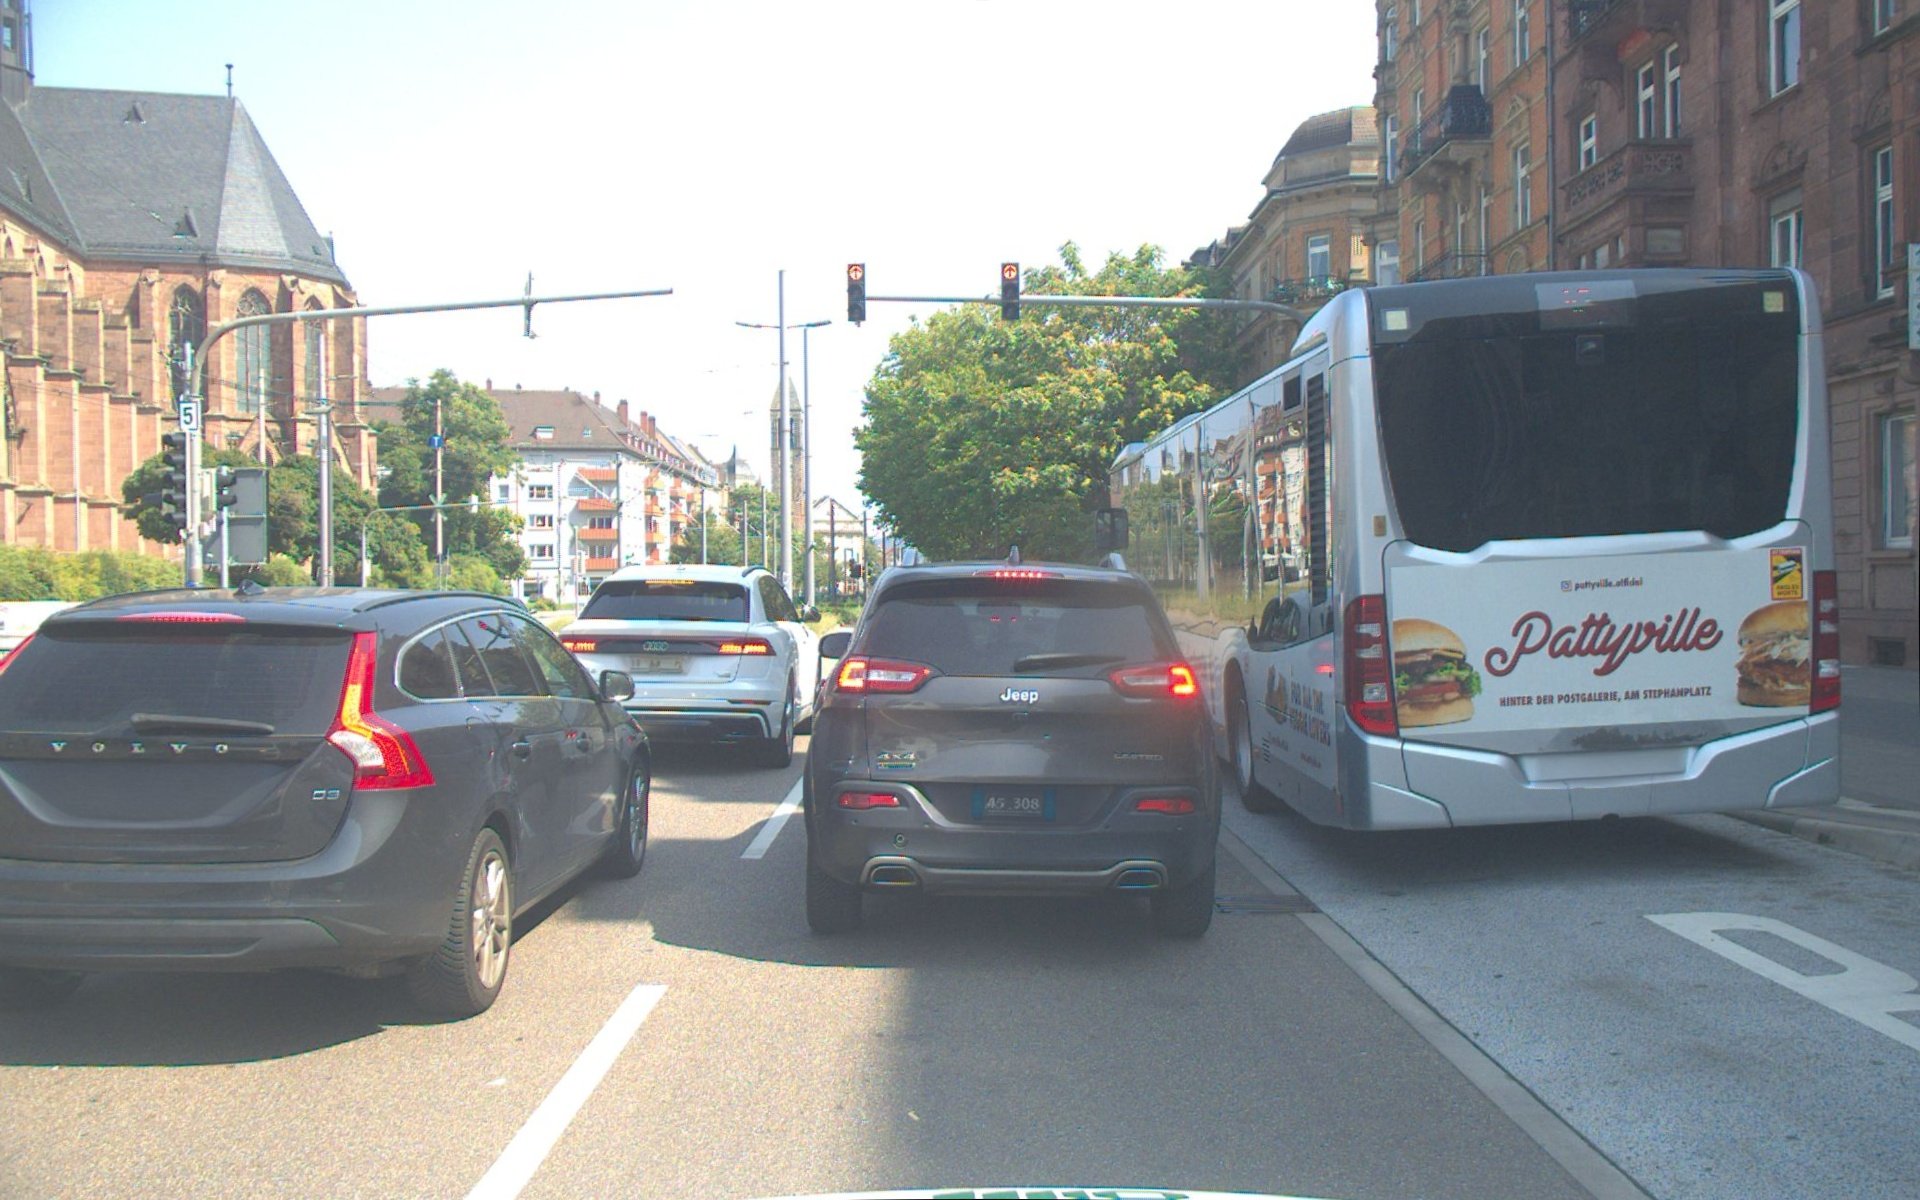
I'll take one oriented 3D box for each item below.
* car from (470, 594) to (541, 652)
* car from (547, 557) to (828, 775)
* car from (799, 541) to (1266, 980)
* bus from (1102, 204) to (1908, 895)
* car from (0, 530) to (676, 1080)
[{"bbox_3d":[-12.702,0.590,46.097,1.719,1.460,4.551,-2,1,-17],"label":"car"},{"bbox_3d":[-2.275,0.490,14.923,1.863,1.680,4.308,0,1,-1],"label":"car"},{"bbox_3d":[0.292,0.606,8.570,1.795,1.680,4.308,1,0,0],"label":"car"},{"bbox_3d":[3.131,-0.267,13.918,2.687,3.161,11.955,-3,0,0],"label":"bus"},{"bbox_3d":[-2.426,0.600,7.110,1.712,1.642,4.307,1,0,-1],"label":"car"}]
